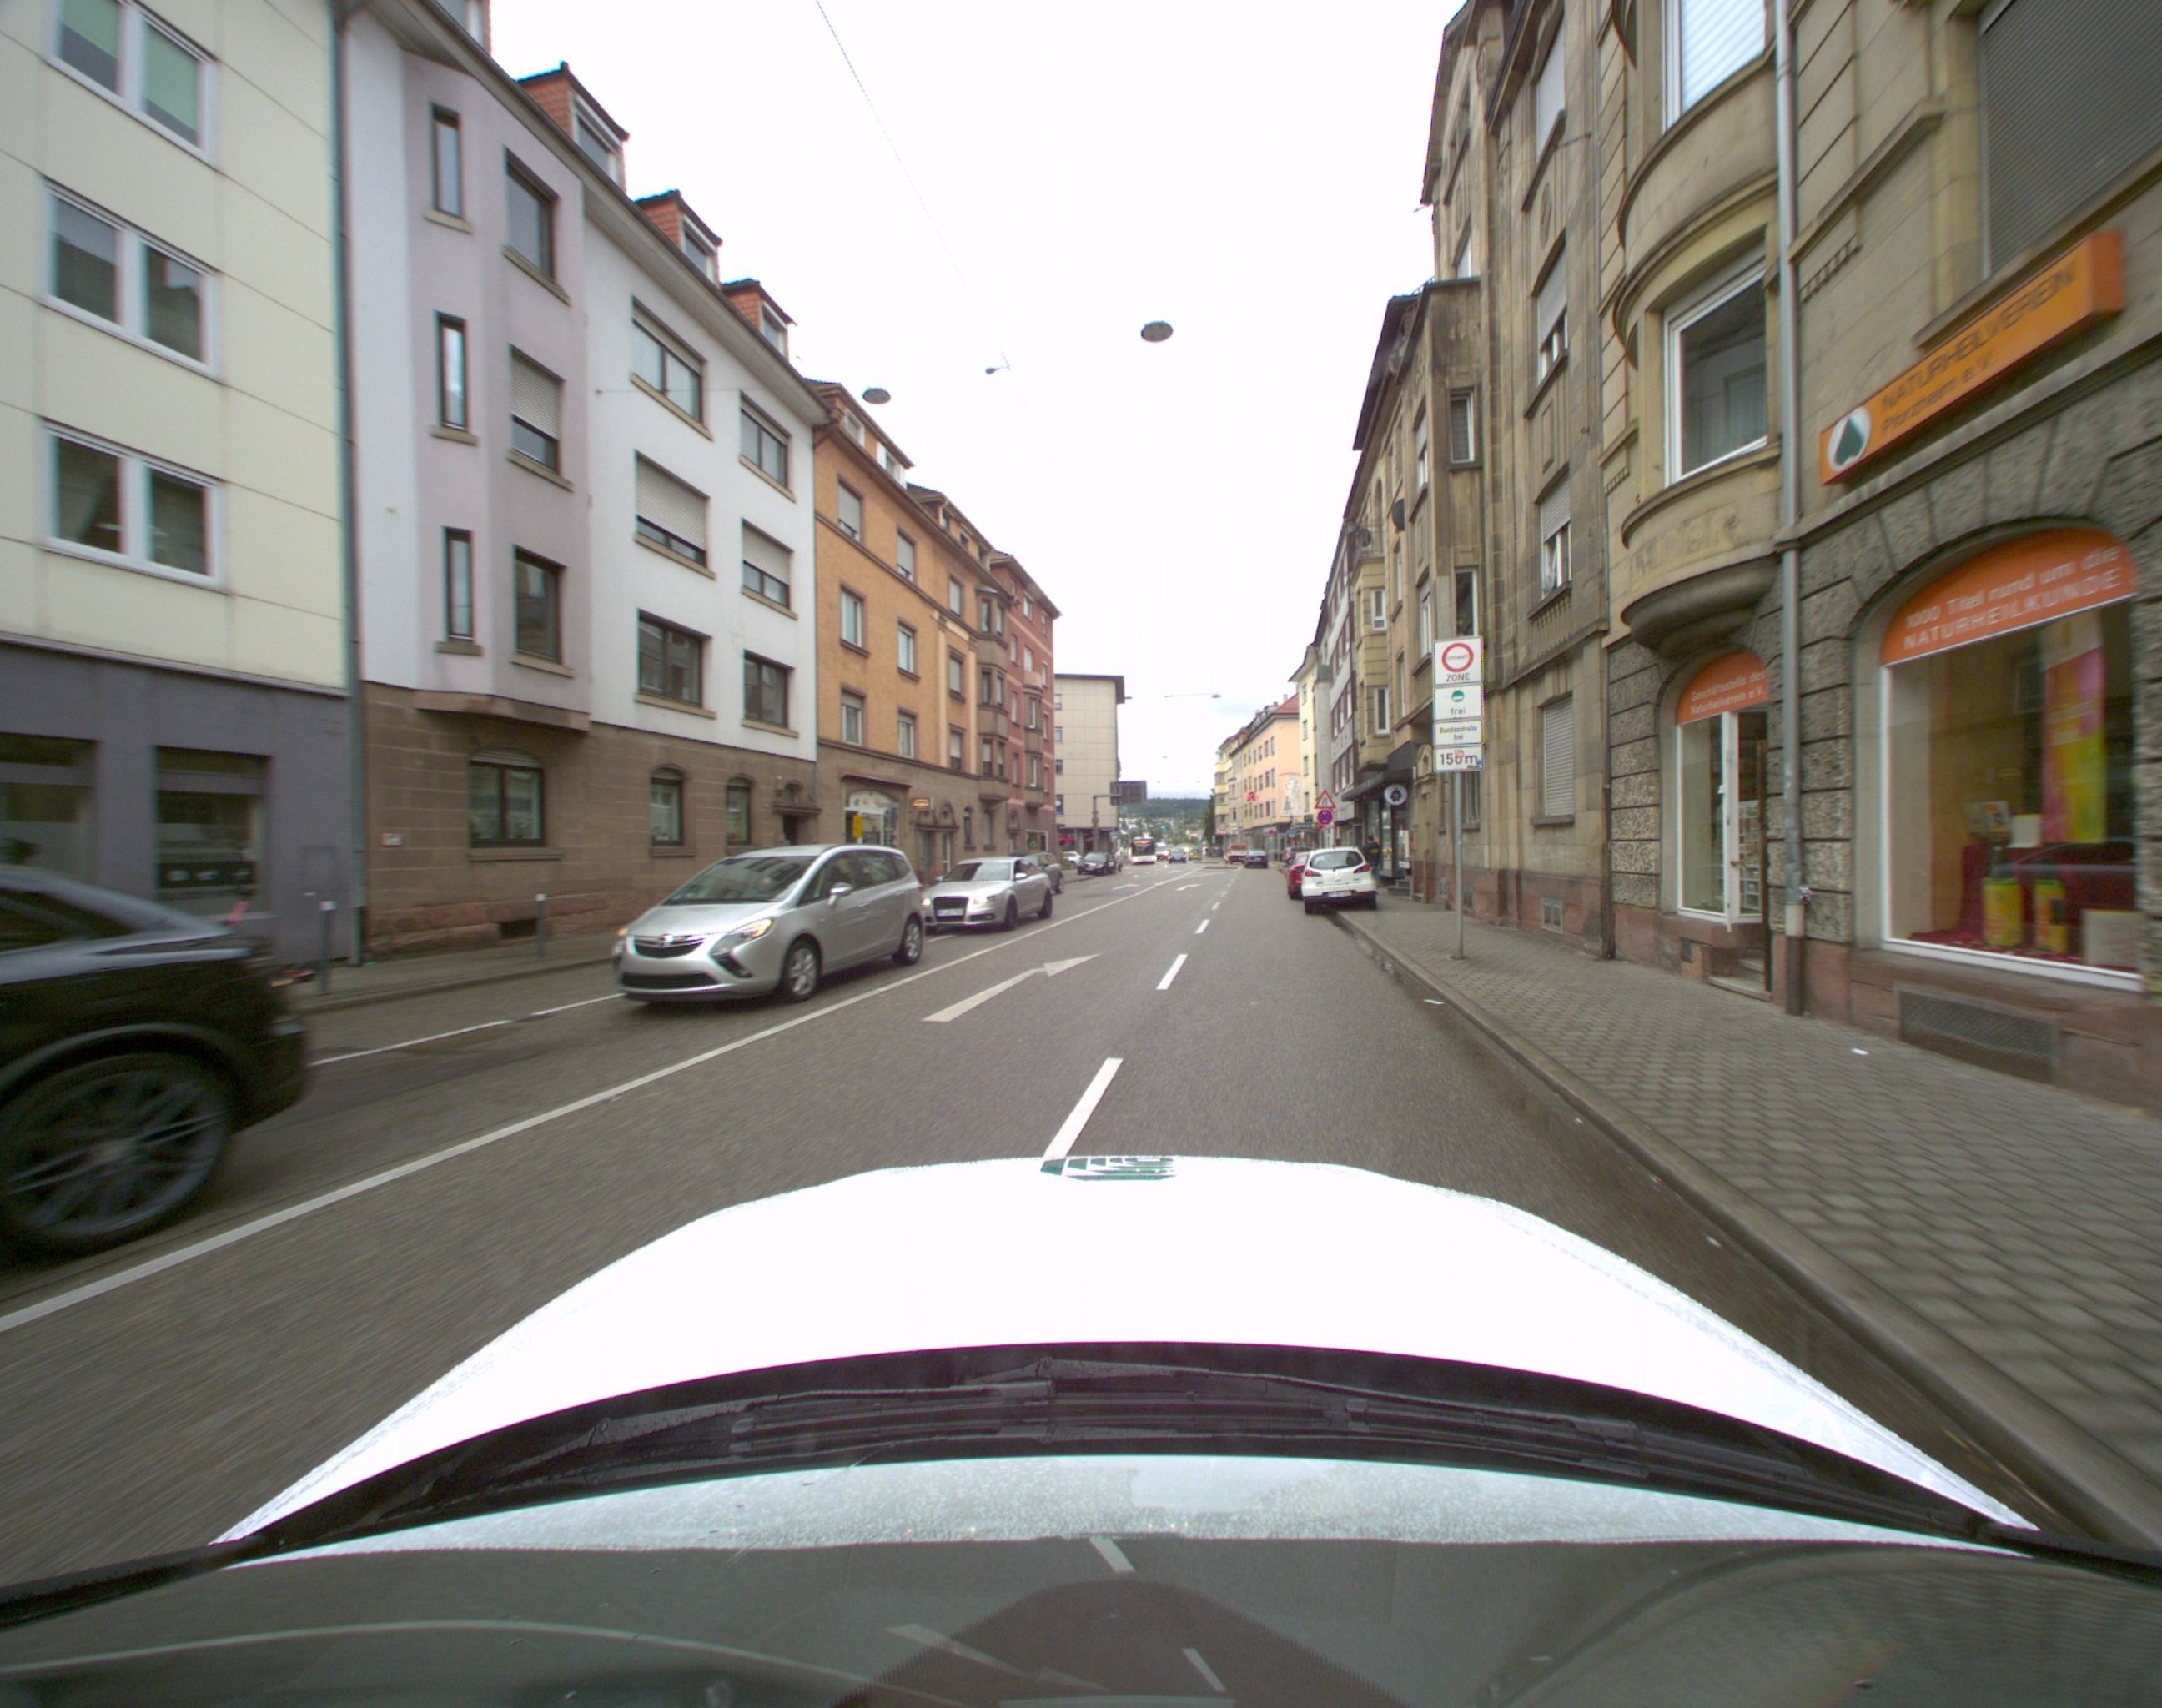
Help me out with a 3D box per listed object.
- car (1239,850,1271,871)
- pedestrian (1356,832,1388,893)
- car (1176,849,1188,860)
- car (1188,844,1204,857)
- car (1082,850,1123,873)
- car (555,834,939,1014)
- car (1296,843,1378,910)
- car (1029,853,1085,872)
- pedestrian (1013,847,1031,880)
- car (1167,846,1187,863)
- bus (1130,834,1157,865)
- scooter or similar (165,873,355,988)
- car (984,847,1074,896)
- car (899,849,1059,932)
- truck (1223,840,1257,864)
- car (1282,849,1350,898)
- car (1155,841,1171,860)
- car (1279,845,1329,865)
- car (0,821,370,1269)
[{"bbox_3d":[13.239,0.484,62.058,1.747,1.479,4.004,-2,0,3],"label":"car"},{"bbox_3d":[8.652,0.248,24.232,0.739,1.779,0.798,-2,-1,9],"label":"pedestrian"},{"bbox_3d":[16.696,0.111,134.949,1.747,1.651,4.004,-2,0,3],"label":"car"},{"bbox_3d":[15.032,-0.399,106.684,1.747,1.651,4.004,-2,0,3],"label":"car"},{"bbox_3d":[1.468,0.465,53.753,1.838,1.397,4.809,2,1,12],"label":"car"},{"bbox_3d":[-3.440,0.644,9.554,1.930,1.583,4.535,-2,0,11],"label":"car"},{"bbox_3d":[6.415,0.526,20.772,1.636,1.494,4.464,-2,0,13],"label":"car"},{"bbox_3d":[-2.102,0.768,72.085,4.639,1.533,1.895,-1,0,-17],"label":"car"},{"bbox_3d":[-3.002,0.478,41.430,0.840,1.679,0.853,1,-1,-1],"label":"pedestrian"},{"bbox_3d":[10.029,0.071,85.078,1.747,1.651,4.310,-2,0,3],"label":"car"},{"bbox_3d":[6.858,-0.491,90.739,2.747,3.188,8.919,-2,0,3],"label":"bus"},{"bbox_3d":[-9.779,0.860,9.784,0.458,1.213,1.583,3,0,10],"label":"scooter or similar"},{"bbox_3d":[-1.777,0.590,29.569,1.966,1.595,4.355,-2,-1,15],"label":"car"},{"bbox_3d":[-1.931,0.670,17.031,1.930,1.470,4.574,-2,0,11],"label":"car"},{"bbox_3d":[15.131,-0.206,77.793,2.390,2.129,5.319,-2,0,3],"label":"truck"},{"bbox_3d":[7.458,0.570,26.216,1.732,1.369,4.329,-2,0,11],"label":"car"},{"bbox_3d":[11.377,-0.473,112.886,2.076,2.435,6.363,-2,0,6],"label":"car"},{"bbox_3d":[18.927,0.116,69.332,3.806,1.574,1.939,-2,0,5],"label":"car"},{"bbox_3d":[-4.988,0.699,2.003,1.930,1.583,4.619,-2,0,11],"label":"car"}]
